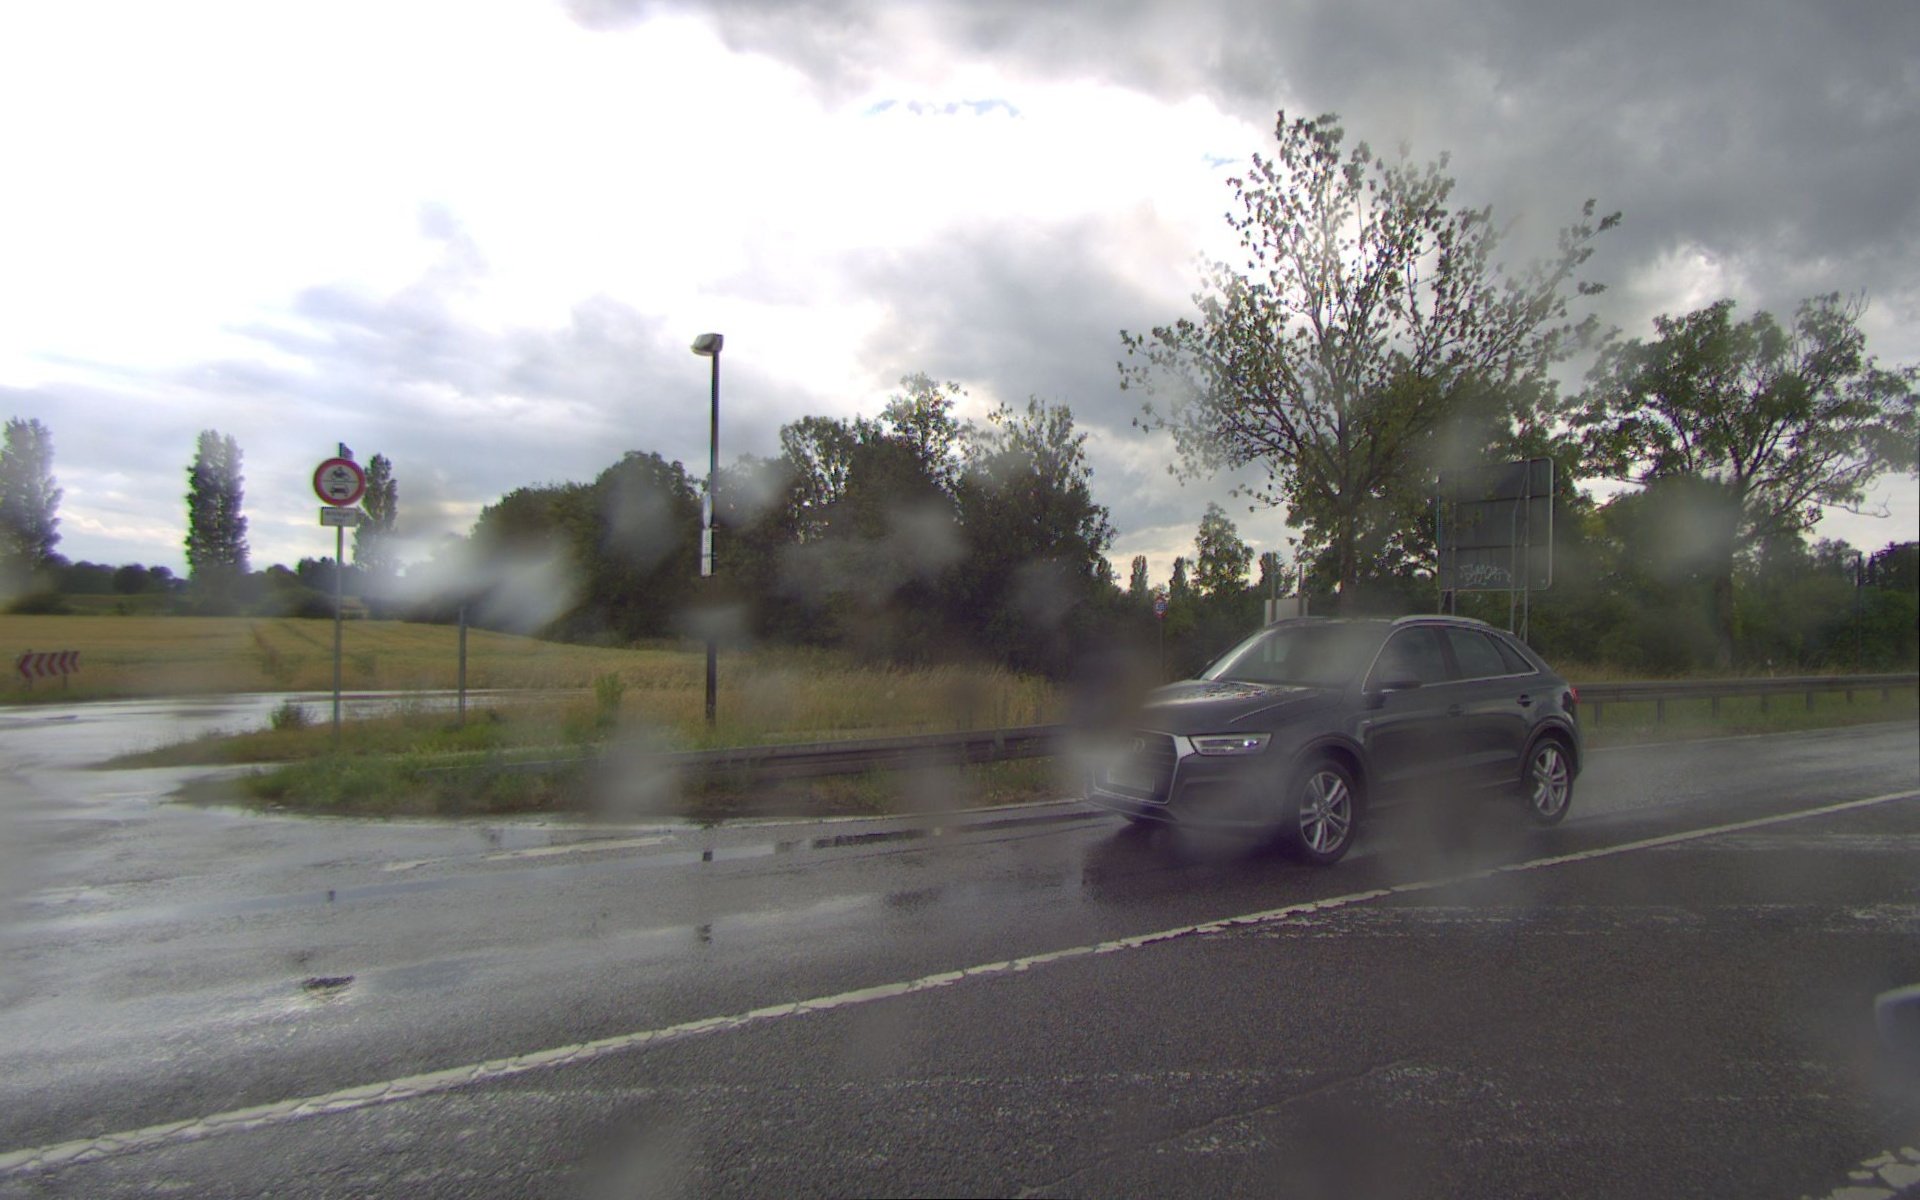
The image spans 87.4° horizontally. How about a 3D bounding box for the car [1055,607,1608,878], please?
[{"bbox_3d":[2.876,0.892,7.563,4.094,1.543,1.760,2,-3,-31],"label":"car"}]
